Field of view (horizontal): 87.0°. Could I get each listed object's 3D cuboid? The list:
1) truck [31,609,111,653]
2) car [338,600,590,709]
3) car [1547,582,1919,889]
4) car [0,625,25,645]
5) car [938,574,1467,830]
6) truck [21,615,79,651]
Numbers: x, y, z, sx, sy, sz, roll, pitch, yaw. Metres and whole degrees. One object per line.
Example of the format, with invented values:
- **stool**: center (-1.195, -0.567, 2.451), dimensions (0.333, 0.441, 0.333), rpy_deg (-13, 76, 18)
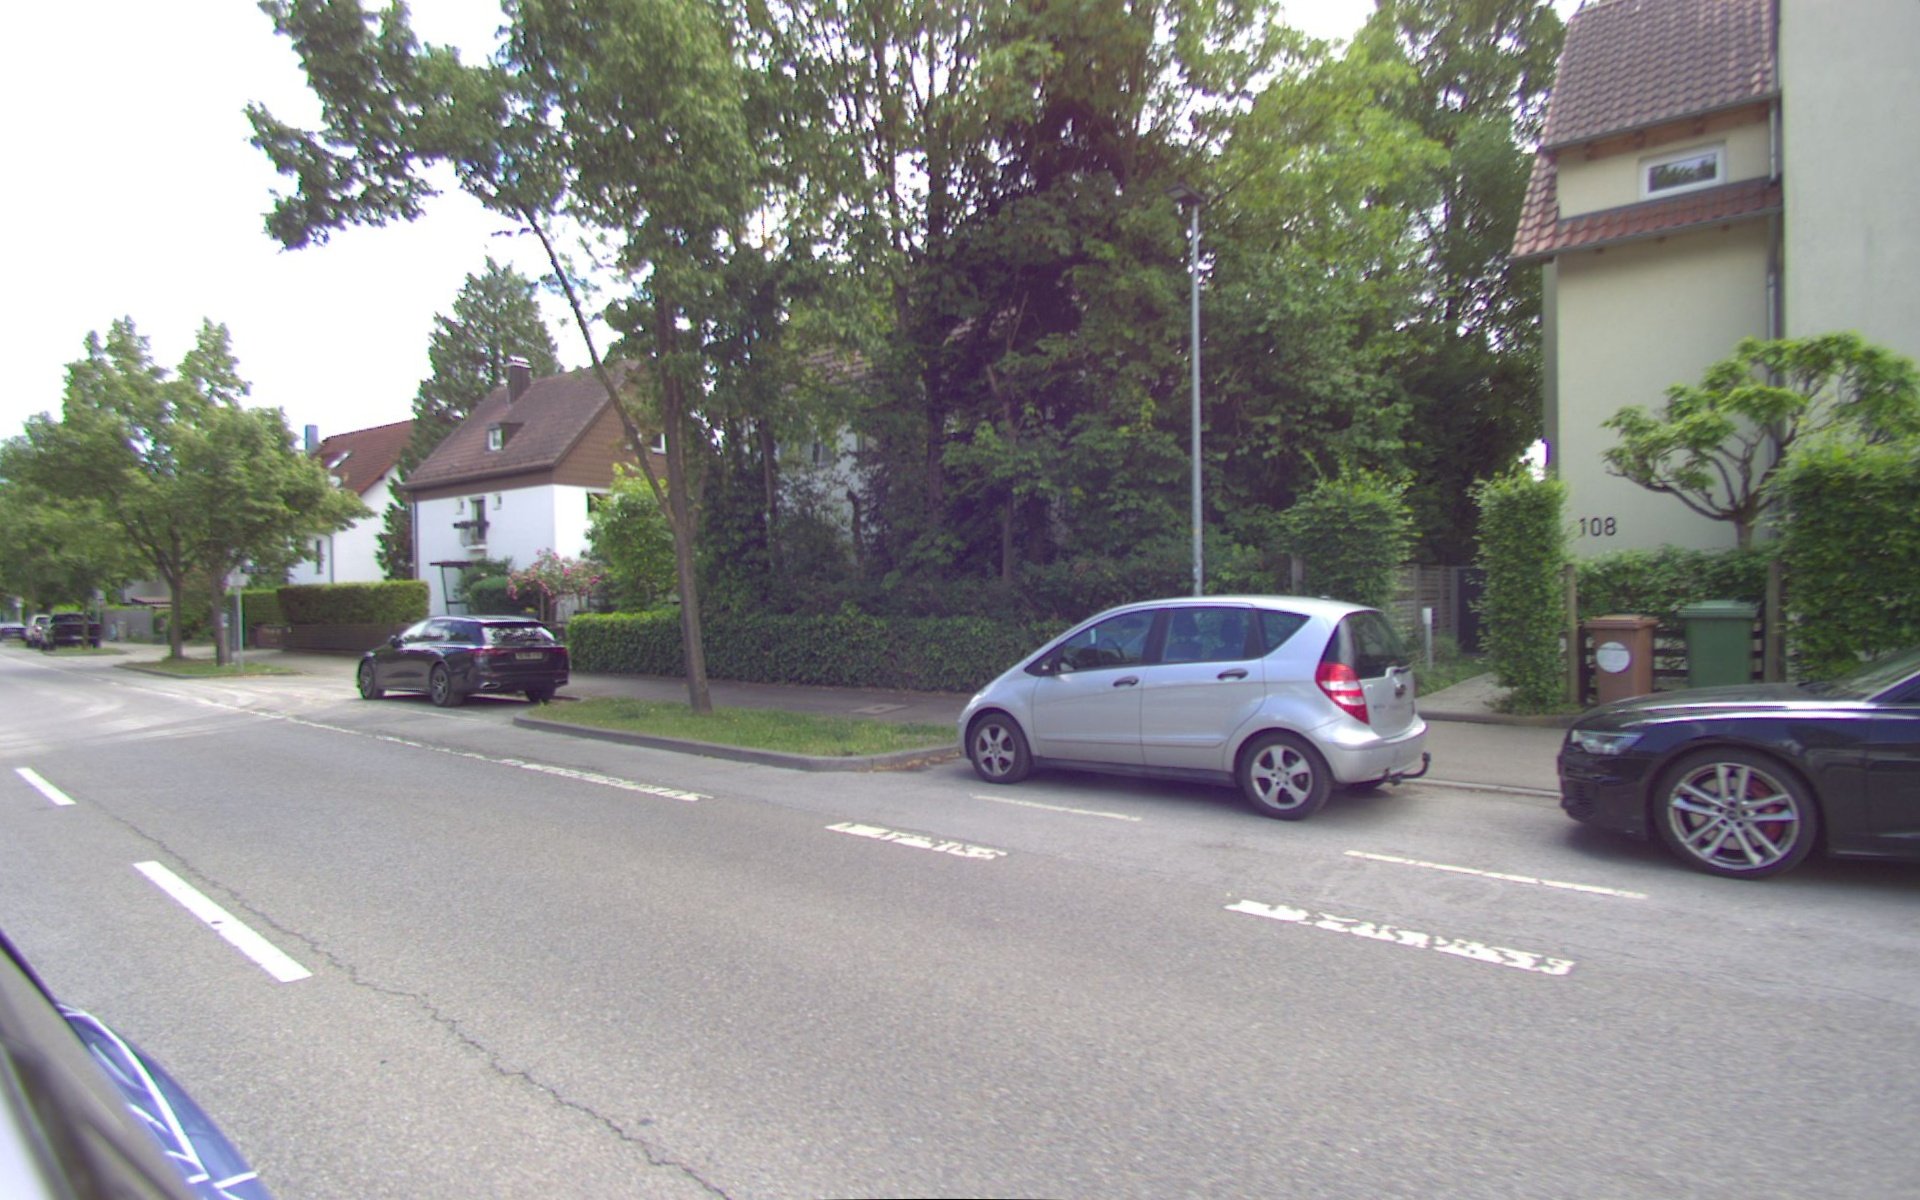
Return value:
- **truck**: center (-45.290, 1.567, 51.504), dimensions (5.994, 2.059, 2.397), rpy_deg (-1, 0, 42)
- **car**: center (-8.810, 0.900, 17.786), dimensions (5.033, 1.659, 2.074), rpy_deg (-2, -2, 39)
- **car**: center (5.957, 0.655, 5.188), dimensions (4.883, 1.496, 1.974), rpy_deg (-1, -1, 38)
- **car**: center (-71.711, 2.597, 76.055), dimensions (4.926, 1.419, 1.727), rpy_deg (-1, -2, 43)
- **car**: center (1.843, 0.684, 8.376), dimensions (3.907, 1.625, 1.701), rpy_deg (-1, -1, 40)
- **truck**: center (-50.724, 1.822, 56.362), dimensions (5.665, 1.882, 1.945), rpy_deg (-1, -2, 43)
